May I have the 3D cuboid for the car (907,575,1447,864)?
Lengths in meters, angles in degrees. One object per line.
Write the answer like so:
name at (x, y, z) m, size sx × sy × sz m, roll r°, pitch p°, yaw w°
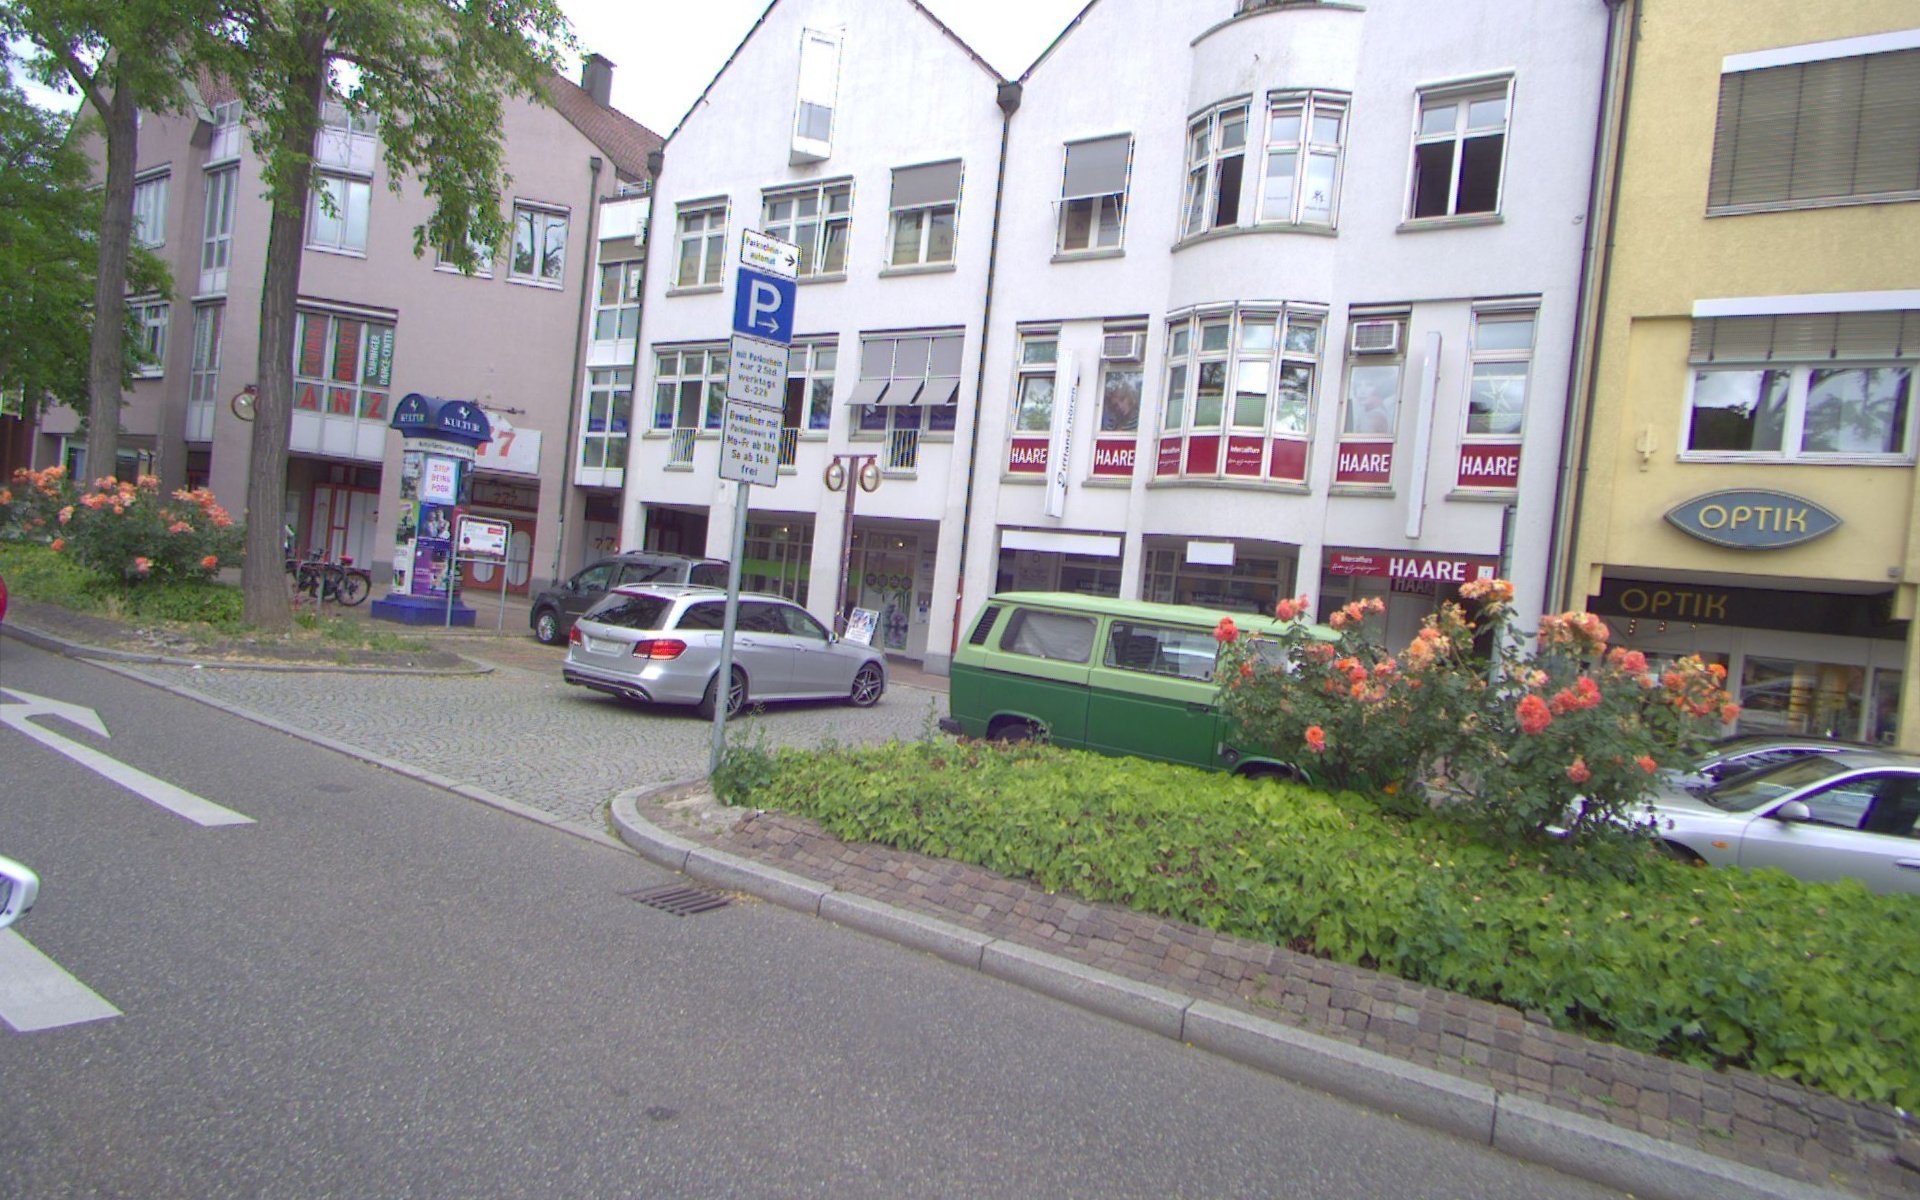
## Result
car at (2.060, 0.960, 9.919) m, size 4.672 × 1.900 × 1.996 m, roll 6°, pitch 1°, yaw 29°

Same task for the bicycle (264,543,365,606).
bicycle at (-12.785, -0.497, 19.952) m, size 1.545 × 1.061 × 0.405 m, roll 7°, pitch 1°, yaw -17°

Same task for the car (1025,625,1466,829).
car at (3.384, 1.355, 12.117) m, size 4.672 × 1.567 × 1.996 m, roll 6°, pitch 1°, yaw 28°

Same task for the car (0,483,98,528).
car at (-40.686, -4.230, 43.910) m, size 1.770 × 1.421 × 4.182 m, roll 7°, pitch -1°, yaw 29°

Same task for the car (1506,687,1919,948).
car at (6.707, 1.637, 7.327) m, size 4.673 × 1.326 × 1.840 m, roll 6°, pitch 1°, yaw 30°

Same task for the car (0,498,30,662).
car at (-10.488, -0.432, 9.402) m, size 3.581 × 1.465 × 1.630 m, roll 7°, pitch -2°, yaw 32°

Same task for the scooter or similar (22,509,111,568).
scooter or similar at (-19.903, -1.367, 22.402) m, size 1.852 × 1.101 × 0.471 m, roll 6°, pitch 1°, yaw 14°

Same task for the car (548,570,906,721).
car at (-2.776, 0.598, 13.140) m, size 1.711 × 1.472 × 4.643 m, roll 7°, pitch 0°, yaw 31°

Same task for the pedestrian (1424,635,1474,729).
pedestrian at (8.868, 1.496, 18.248) m, size 0.551 × 1.631 × 0.420 m, roll 6°, pitch 1°, yaw -35°

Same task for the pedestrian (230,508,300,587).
pedestrian at (-15.925, -1.207, 23.051) m, size 1.075 × 1.647 × 0.809 m, roll 7°, pitch 1°, yaw 29°

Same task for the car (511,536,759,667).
car at (-5.865, 0.006, 18.045) m, size 4.188 × 1.827 × 1.736 m, roll 7°, pitch 1°, yaw 29°

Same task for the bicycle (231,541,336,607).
bicycle at (-12.943, -0.495, 19.282) m, size 1.545 × 1.061 × 0.405 m, roll 7°, pitch 1°, yaw -17°
